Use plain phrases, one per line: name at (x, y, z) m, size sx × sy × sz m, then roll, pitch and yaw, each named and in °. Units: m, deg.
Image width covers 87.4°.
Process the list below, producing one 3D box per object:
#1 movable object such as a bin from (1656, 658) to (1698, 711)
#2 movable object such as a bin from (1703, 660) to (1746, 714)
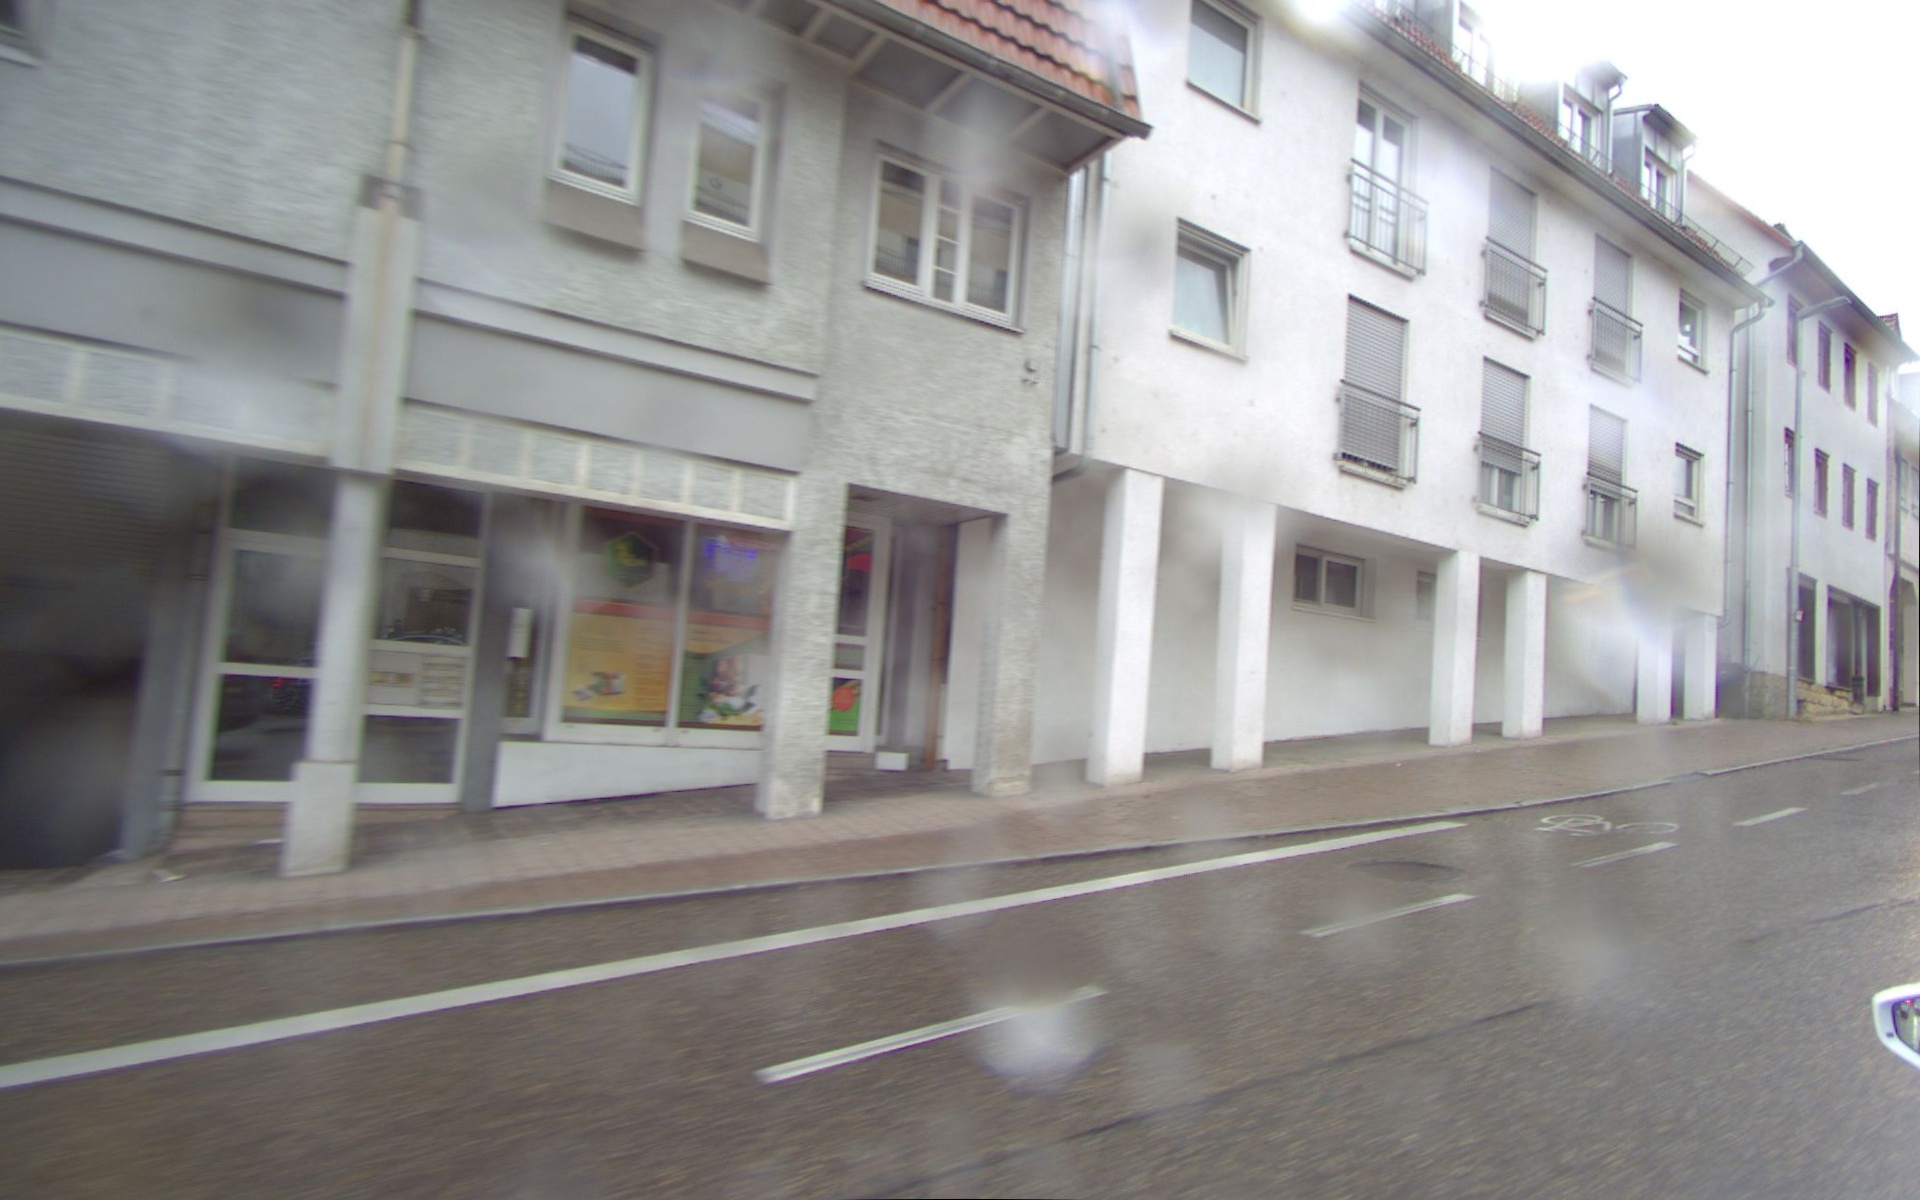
movable object such as a bin at (14.291, 1.669, 20.019) m, size 0.579 × 1.020 × 0.505 m, roll 2°, pitch -1°, yaw -34°
movable object such as a bin at (14.817, 1.677, 19.463) m, size 0.579 × 1.020 × 0.505 m, roll 2°, pitch -1°, yaw -34°
